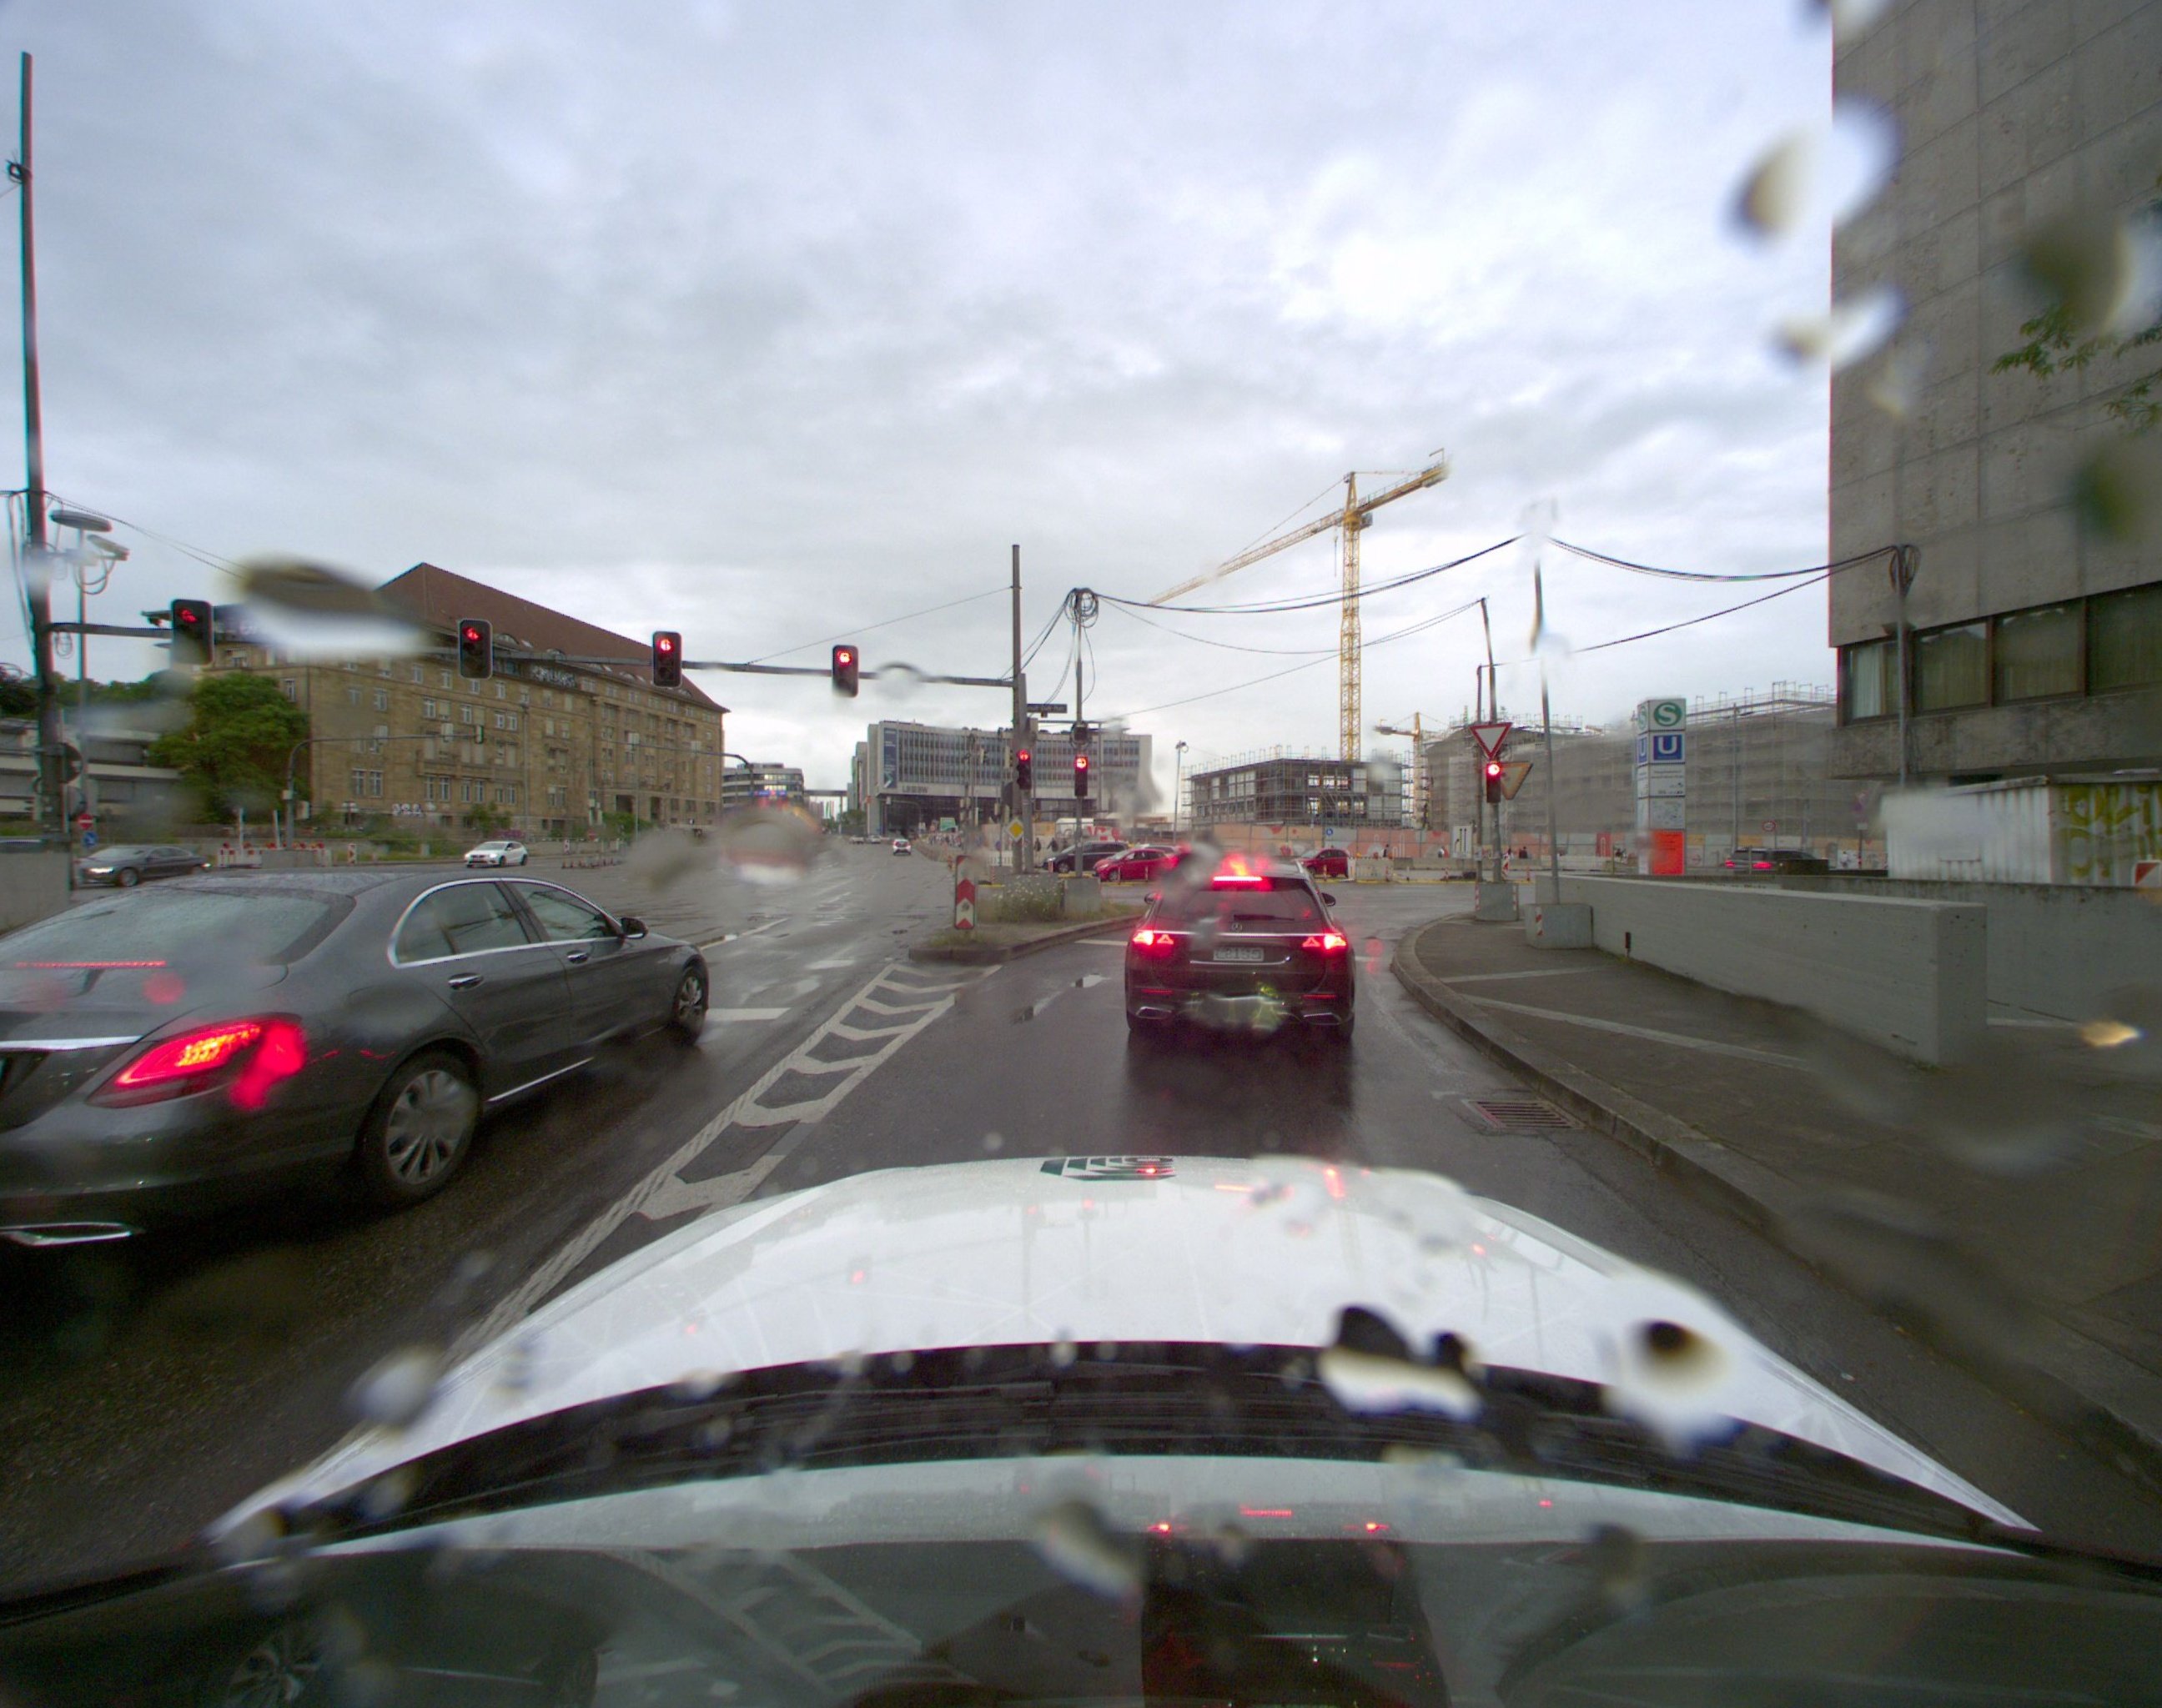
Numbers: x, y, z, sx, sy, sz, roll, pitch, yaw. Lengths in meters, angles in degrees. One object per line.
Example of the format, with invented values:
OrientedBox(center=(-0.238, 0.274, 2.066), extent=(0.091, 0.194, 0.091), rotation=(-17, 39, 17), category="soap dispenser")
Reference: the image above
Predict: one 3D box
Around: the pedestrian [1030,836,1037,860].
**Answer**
OrientedBox(center=(-3.894, -0.481, 67.050), extent=(0.362, 1.898, 0.572), rotation=(1, -1, -20), category="pedestrian")

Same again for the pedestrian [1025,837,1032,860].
OrientedBox(center=(-4.472, -0.455, 69.401), extent=(0.362, 1.898, 0.572), rotation=(1, -1, -20), category="pedestrian")

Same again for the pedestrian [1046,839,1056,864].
OrientedBox(center=(-2.262, -0.181, 61.281), extent=(0.569, 1.898, 0.364), rotation=(0, -1, 33), category="pedestrian")

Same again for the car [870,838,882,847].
OrientedBox(center=(-38.731, -2.180, 153.706), extent=(1.733, 1.639, 3.412), rotation=(1, 2, -20), category="car")

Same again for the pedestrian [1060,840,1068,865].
OrientedBox(center=(-1.316, -0.132, 62.482), extent=(0.364, 1.898, 0.570), rotation=(2, -1, -35), category="pedestrian")

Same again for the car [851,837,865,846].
OrientedBox(center=(-40.872, -2.251, 149.442), extent=(2.002, 1.640, 3.970), rotation=(1, -1, -23), category="car")

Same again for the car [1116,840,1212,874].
OrientedBox(center=(3.919, 0.161, 38.652), extent=(4.050, 1.552, 1.988), rotation=(1, -1, -18), category="car")

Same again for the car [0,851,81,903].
OrientedBox(center=(-27.316, 0.549, 19.597), extent=(1.768, 1.260, 4.178), rotation=(1, -1, -11), category="car")

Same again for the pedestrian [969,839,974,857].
OrientedBox(center=(-11.871, -0.653, 88.306), extent=(0.362, 1.898, 0.573), rotation=(1, -1, -16), category="pedestrian")

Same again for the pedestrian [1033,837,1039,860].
OrientedBox(center=(-3.731, -0.476, 67.261), extent=(0.362, 1.898, 0.572), rotation=(1, -1, -20), category="pedestrian")

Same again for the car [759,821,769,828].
OrientedBox(center=(-91.902, -8.491, 236.185), extent=(2.007, 1.816, 3.960), rotation=(1, -1, -32), category="car")

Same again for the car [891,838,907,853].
OrientedBox(center=(-23.085, -1.088, 103.259), extent=(1.996, 1.766, 4.398), rotation=(1, -1, -13), category="car")

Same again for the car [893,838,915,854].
OrientedBox(center=(-17.689, -0.772, 81.618), extent=(1.778, 1.473, 3.551), rotation=(1, -1, -6), category="car")

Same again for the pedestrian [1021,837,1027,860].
OrientedBox(center=(-4.862, -0.450, 69.249), extent=(0.362, 1.898, 0.572), rotation=(1, -1, -20), category="pedestrian")

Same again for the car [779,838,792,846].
OrientedBox(center=(-58.722, -2.394, 161.768), extent=(1.673, 1.596, 3.577), rotation=(1, -1, -33), category="car")

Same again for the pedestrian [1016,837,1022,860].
OrientedBox(center=(-5.274, -0.472, 68.971), extent=(0.362, 1.898, 0.573), rotation=(1, -1, -19), category="pedestrian")

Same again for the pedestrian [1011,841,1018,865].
OrientedBox(center=(-5.196, -0.091, 63.875), extent=(0.363, 1.898, 0.572), rotation=(1, -1, -24), category="pedestrian")

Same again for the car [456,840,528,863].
OrientedBox(center=(-33.377, -0.113, 46.274), extent=(1.768, 1.260, 3.985), rotation=(1, -1, -11), category="car")

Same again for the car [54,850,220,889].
OrientedBox(center=(-32.660, 0.535, 28.373), extent=(1.625, 1.260, 4.061), rotation=(1, -1, -13), category="car")

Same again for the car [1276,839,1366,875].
OrientedBox(center=(12.260, 0.177, 41.673), extent=(3.995, 1.708, 1.989), rotation=(1, -1, -16), category="car")

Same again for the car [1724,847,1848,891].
OrientedBox(center=(30.299, 0.662, 34.995), extent=(5.107, 1.798, 1.985), rotation=(1, -1, -23), category="car")

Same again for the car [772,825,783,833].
OrientedBox(center=(-79.895, -6.512, 214.289), extent=(2.007, 2.014, 3.960), rotation=(1, -1, -32), category="car")

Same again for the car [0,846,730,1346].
OrientedBox(center=(-3.728, 0.691, 4.582), extent=(1.779, 1.402, 4.481), rotation=(1, 1, -4), category="car")

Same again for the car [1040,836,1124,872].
OrientedBox(center=(0.047, 0.029, 42.280), extent=(3.993, 1.734, 1.990), rotation=(1, -1, -15), category="car")

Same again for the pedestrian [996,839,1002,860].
OrientedBox(center=(-7.346, -0.385, 72.776), extent=(0.362, 1.898, 0.572), rotation=(1, -1, -20), category="pedestrian")

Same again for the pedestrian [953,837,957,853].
OrientedBox(center=(-15.154, -1.093, 98.203), extent=(0.362, 1.898, 0.573), rotation=(1, -1, -16), category="pedestrian")

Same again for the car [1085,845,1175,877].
OrientedBox(center=(2.107, 0.304, 35.203), extent=(3.542, 1.304, 1.656), rotation=(1, -1, -17), category="car")

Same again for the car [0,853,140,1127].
OrientedBox(center=(-6.777, 0.715, 2.611), extent=(1.883, 1.515, 4.994), rotation=(1, -1, -4), category="car")

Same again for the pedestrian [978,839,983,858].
OrientedBox(center=(-10.212, -0.552, 82.820), extent=(0.362, 1.898, 0.573), rotation=(1, -1, -16), category="pedestrian")

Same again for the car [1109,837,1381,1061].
OrientedBox(center=(1.399, 0.689, 7.753), extent=(1.881, 1.544, 4.001), rotation=(1, -1, 7), category="car")
